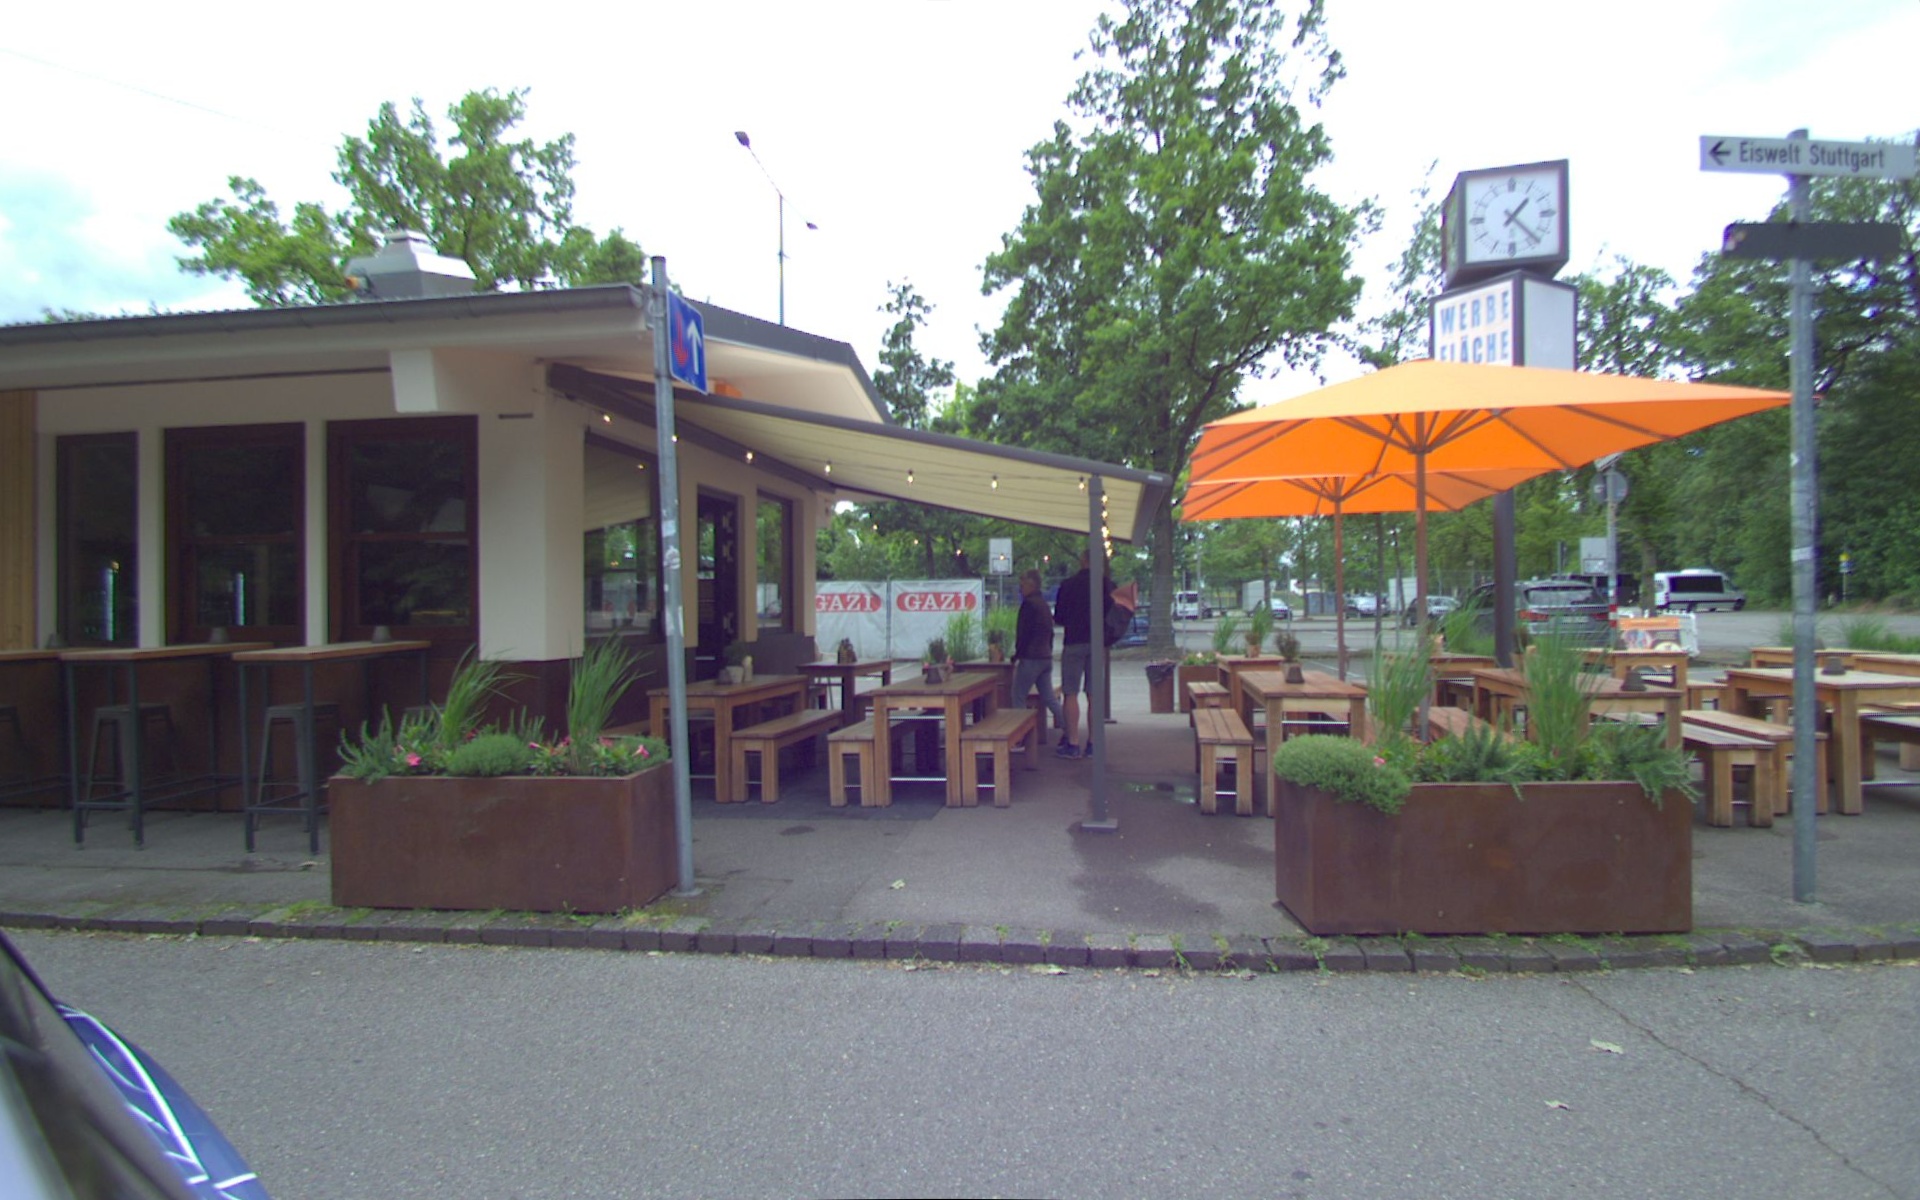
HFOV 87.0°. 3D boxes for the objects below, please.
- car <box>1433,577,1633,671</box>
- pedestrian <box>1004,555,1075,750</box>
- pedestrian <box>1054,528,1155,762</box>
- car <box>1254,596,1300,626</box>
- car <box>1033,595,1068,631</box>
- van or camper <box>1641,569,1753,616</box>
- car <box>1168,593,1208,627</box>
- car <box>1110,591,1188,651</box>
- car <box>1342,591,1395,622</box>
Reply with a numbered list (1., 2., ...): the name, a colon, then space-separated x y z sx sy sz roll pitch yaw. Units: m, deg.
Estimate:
1. car: 11.437 0.454 20.592 1.912 1.682 4.336 -1 -1 6
2. pedestrian: 0.720 0.459 9.061 0.526 1.680 0.593 -1 -1 13
3. pedestrian: 1.188 0.361 8.449 0.700 1.845 0.749 -1 -1 2
4. car: 20.180 0.704 64.506 1.854 1.793 4.289 -1 -1 5
5. car: 5.448 0.778 60.807 1.975 2.029 3.994 -1 -1 5
6. van or camper: 49.210 -0.496 67.562 7.215 2.871 2.075 -2 0 -17
7. car: 14.647 0.650 65.267 1.854 2.055 4.583 -1 -1 5
8. car: 5.317 0.564 28.861 1.977 1.564 3.990 -1 -1 8
9. car: 25.656 0.410 63.707 1.854 1.793 4.289 -1 -1 5
